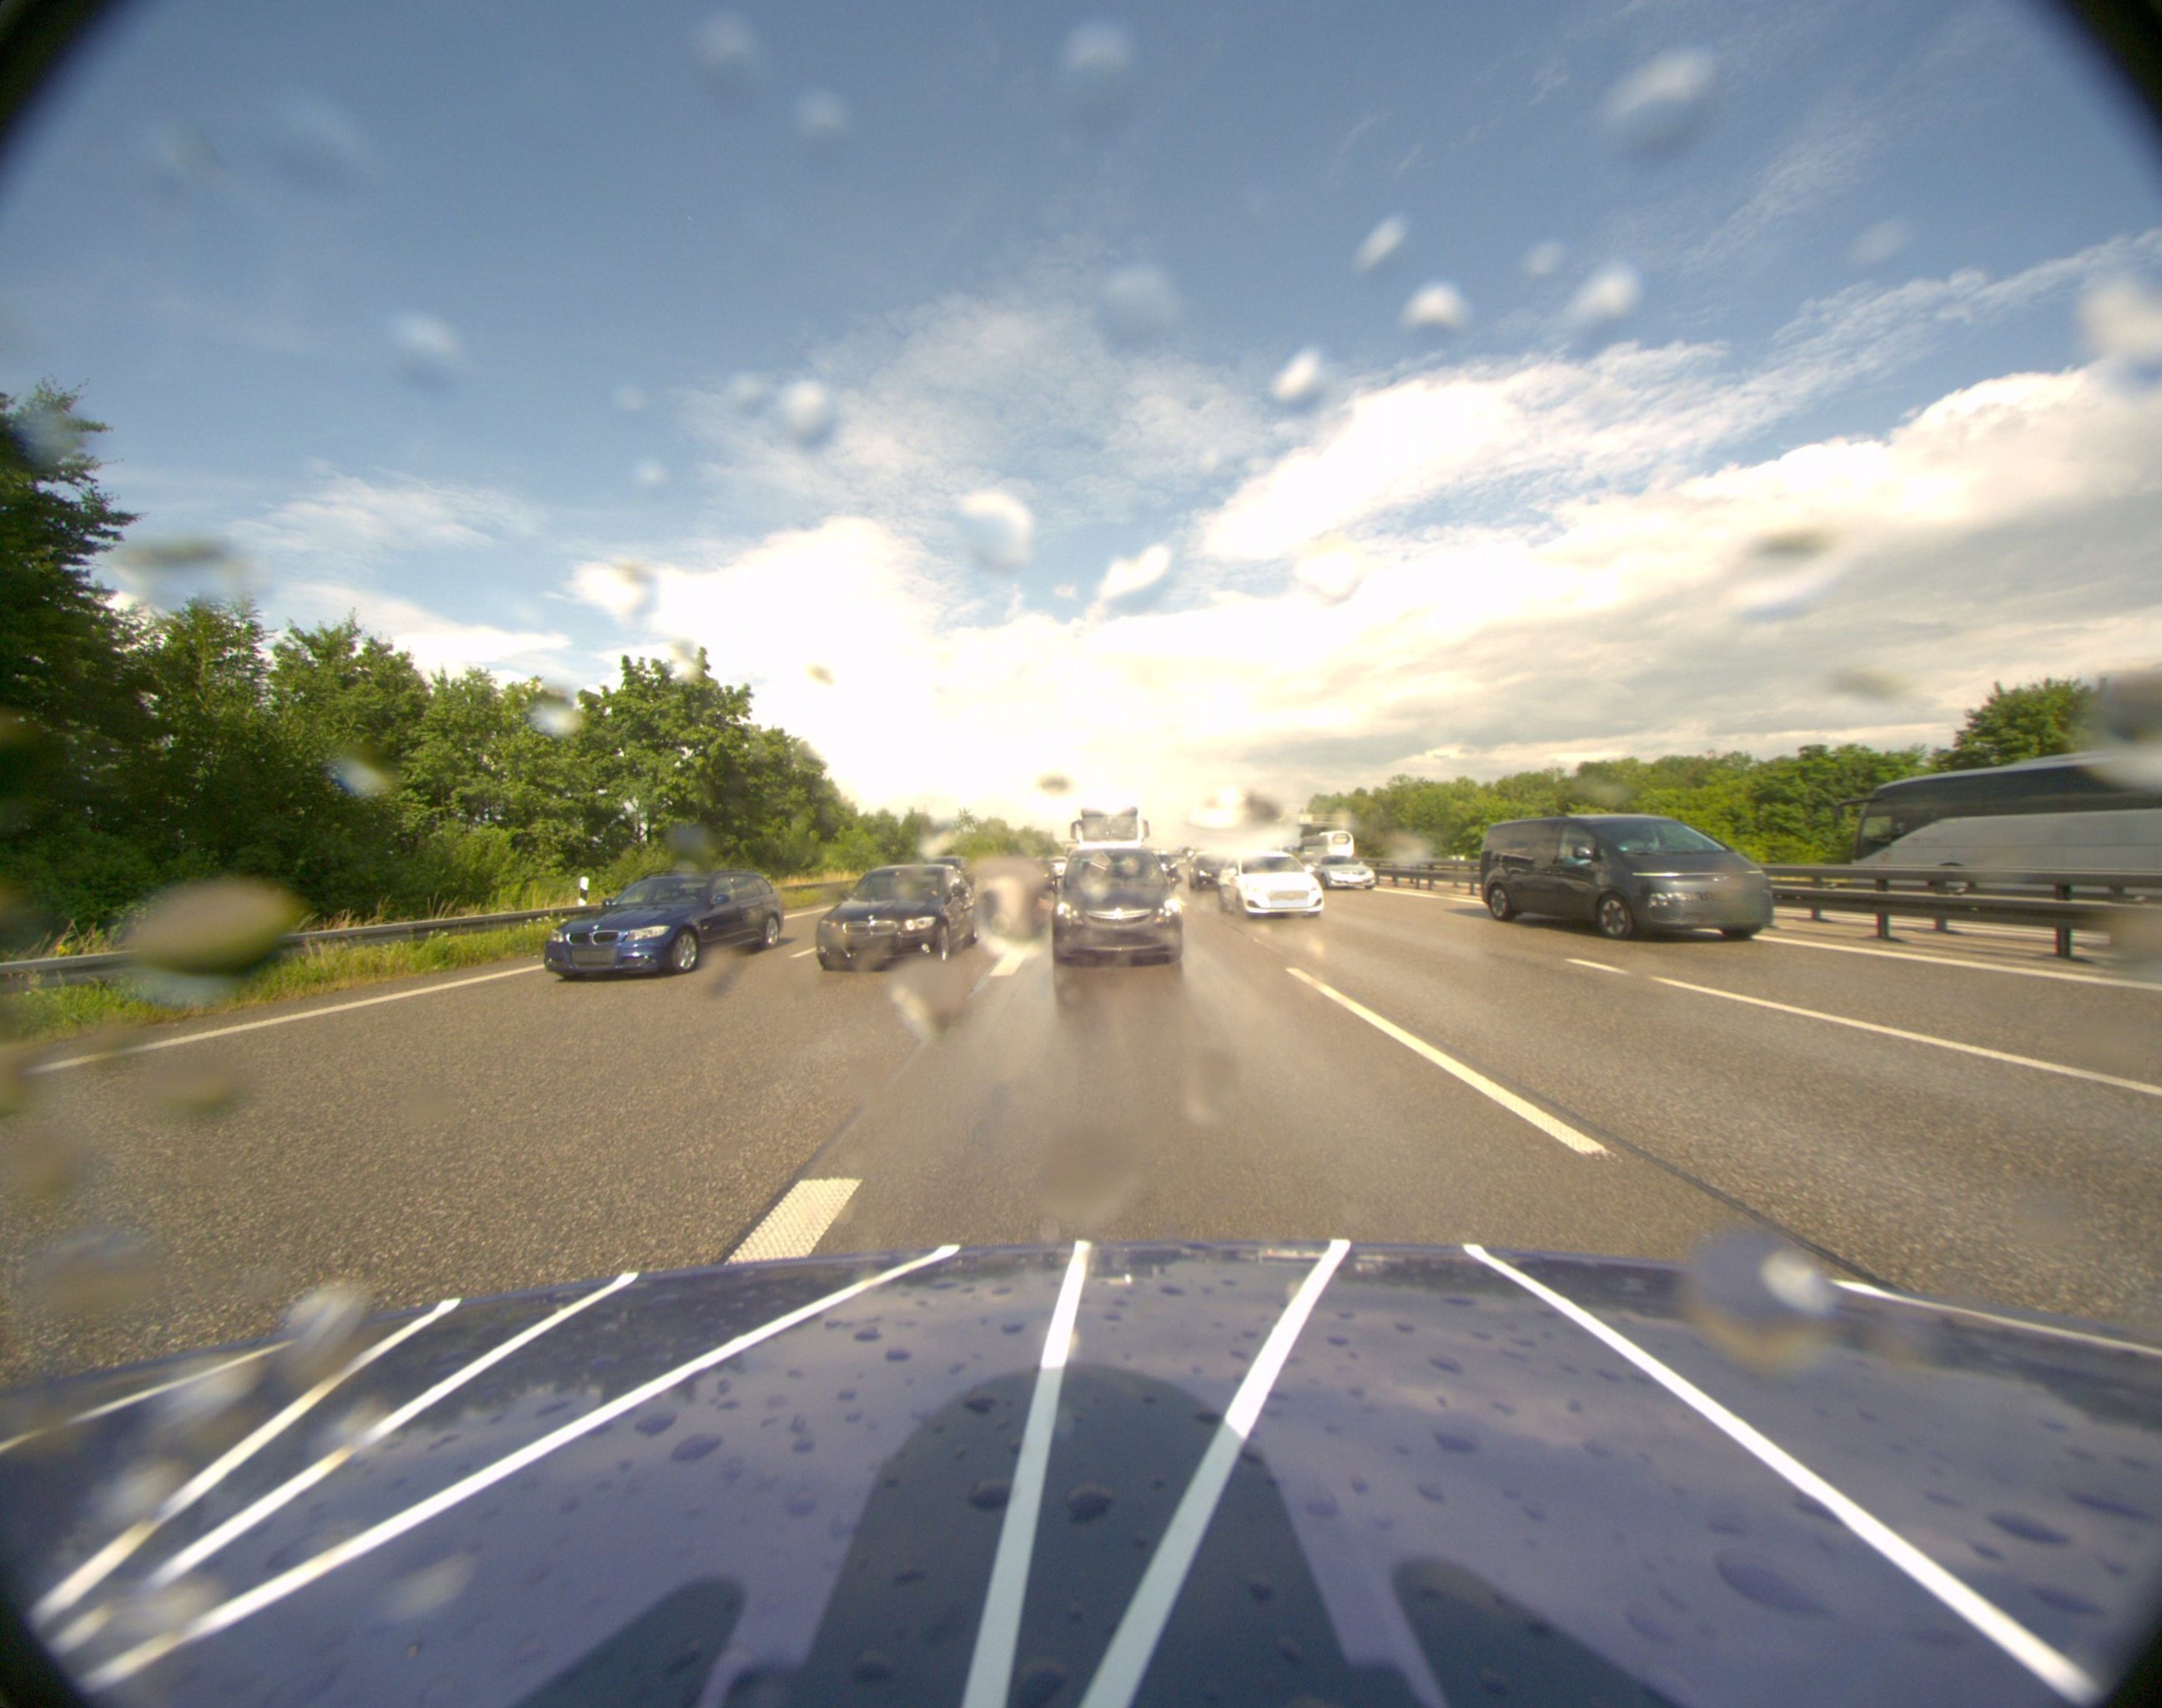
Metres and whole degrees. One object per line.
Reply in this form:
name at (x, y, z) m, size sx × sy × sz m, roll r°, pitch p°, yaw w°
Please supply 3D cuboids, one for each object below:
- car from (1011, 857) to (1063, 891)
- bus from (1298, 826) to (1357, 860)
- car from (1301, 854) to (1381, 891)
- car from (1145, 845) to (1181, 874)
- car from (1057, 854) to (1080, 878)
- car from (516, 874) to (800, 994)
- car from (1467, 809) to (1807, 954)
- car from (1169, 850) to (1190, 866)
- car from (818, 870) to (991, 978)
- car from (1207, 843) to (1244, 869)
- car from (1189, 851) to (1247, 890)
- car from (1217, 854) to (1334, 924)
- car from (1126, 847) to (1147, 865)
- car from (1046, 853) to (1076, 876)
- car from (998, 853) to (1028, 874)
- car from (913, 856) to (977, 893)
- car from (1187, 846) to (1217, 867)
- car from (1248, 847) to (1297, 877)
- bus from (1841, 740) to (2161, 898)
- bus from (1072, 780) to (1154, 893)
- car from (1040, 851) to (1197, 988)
car at (-1.926, 0.855, 34.439) m, size 1.743 × 1.357 × 4.001 m, roll -2°, pitch 0°, yaw 6°
bus at (26.563, -1.127, 82.561) m, size 2.898 × 3.354 × 12.472 m, roll -2°, pitch 0°, yaw 3°
car at (9.461, 0.646, 27.932) m, size 1.856 × 1.182 × 3.584 m, roll -2°, pitch 0°, yaw 3°
car at (5.219, 0.318, 48.821) m, size 1.889 × 1.707 × 4.000 m, roll -2°, pitch 0°, yaw 1°
car at (-0.982, 0.961, 62.241) m, size 1.713 × 1.792 × 3.540 m, roll -2°, pitch 1°, yaw 1°
car at (-6.277, 1.092, 12.036) m, size 1.771 × 1.343 × 4.580 m, roll -2°, pitch 0°, yaw 2°
car at (8.825, 0.353, 12.865) m, size 1.998 × 1.906 × 5.236 m, roll -2°, pitch 0°, yaw 1°
car at (11.243, 0.428, 87.317) m, size 1.900 × 1.740 × 4.000 m, roll -2°, pitch 0°, yaw 1°
car at (-2.644, 1.002, 12.317) m, size 1.722 × 1.346 × 3.884 m, roll -2°, pitch 0°, yaw 2°
car at (10.344, 0.108, 54.586) m, size 1.900 × 1.740 × 4.000 m, roll -2°, pitch 0°, yaw 1°
car at (5.249, 0.591, 29.545) m, size 1.597 × 1.390 × 4.000 m, roll -2°, pitch 0°, yaw 1°
car at (4.385, 0.723, 17.794) m, size 1.809 × 1.389 × 4.240 m, roll -1°, pitch 0°, yaw 3°
car at (5.695, 0.221, 77.979) m, size 1.900 × 1.740 × 4.000 m, roll -2°, pitch 0°, yaw 1°
car at (-1.350, 0.684, 52.081) m, size 1.857 × 1.434 × 4.000 m, roll -2°, pitch 0°, yaw 1°
car at (-5.254, 0.712, 59.267) m, size 1.867 × 1.565 × 4.000 m, roll -2°, pitch 0°, yaw 1°
car at (-6.008, 0.861, 34.069) m, size 1.998 × 1.481 × 4.249 m, roll -2°, pitch 0°, yaw 1°
car at (10.398, 0.181, 65.464) m, size 1.900 × 1.740 × 4.000 m, roll -2°, pitch 0°, yaw 1°
car at (9.775, 0.389, 39.110) m, size 1.618 × 1.412 × 4.000 m, roll -2°, pitch 0°, yaw 2°
bus at (23.829, -0.766, 16.337) m, size 2.946 × 3.267 × 12.211 m, roll -2°, pitch 0°, yaw 1°
bus at (1.355, -0.672, 33.214) m, size 2.904 × 4.104 × 9.846 m, roll -2°, pitch 0°, yaw 2°
car at (0.573, 0.792, 11.628) m, size 1.858 × 1.622 × 4.736 m, roll -2°, pitch 0°, yaw 3°
